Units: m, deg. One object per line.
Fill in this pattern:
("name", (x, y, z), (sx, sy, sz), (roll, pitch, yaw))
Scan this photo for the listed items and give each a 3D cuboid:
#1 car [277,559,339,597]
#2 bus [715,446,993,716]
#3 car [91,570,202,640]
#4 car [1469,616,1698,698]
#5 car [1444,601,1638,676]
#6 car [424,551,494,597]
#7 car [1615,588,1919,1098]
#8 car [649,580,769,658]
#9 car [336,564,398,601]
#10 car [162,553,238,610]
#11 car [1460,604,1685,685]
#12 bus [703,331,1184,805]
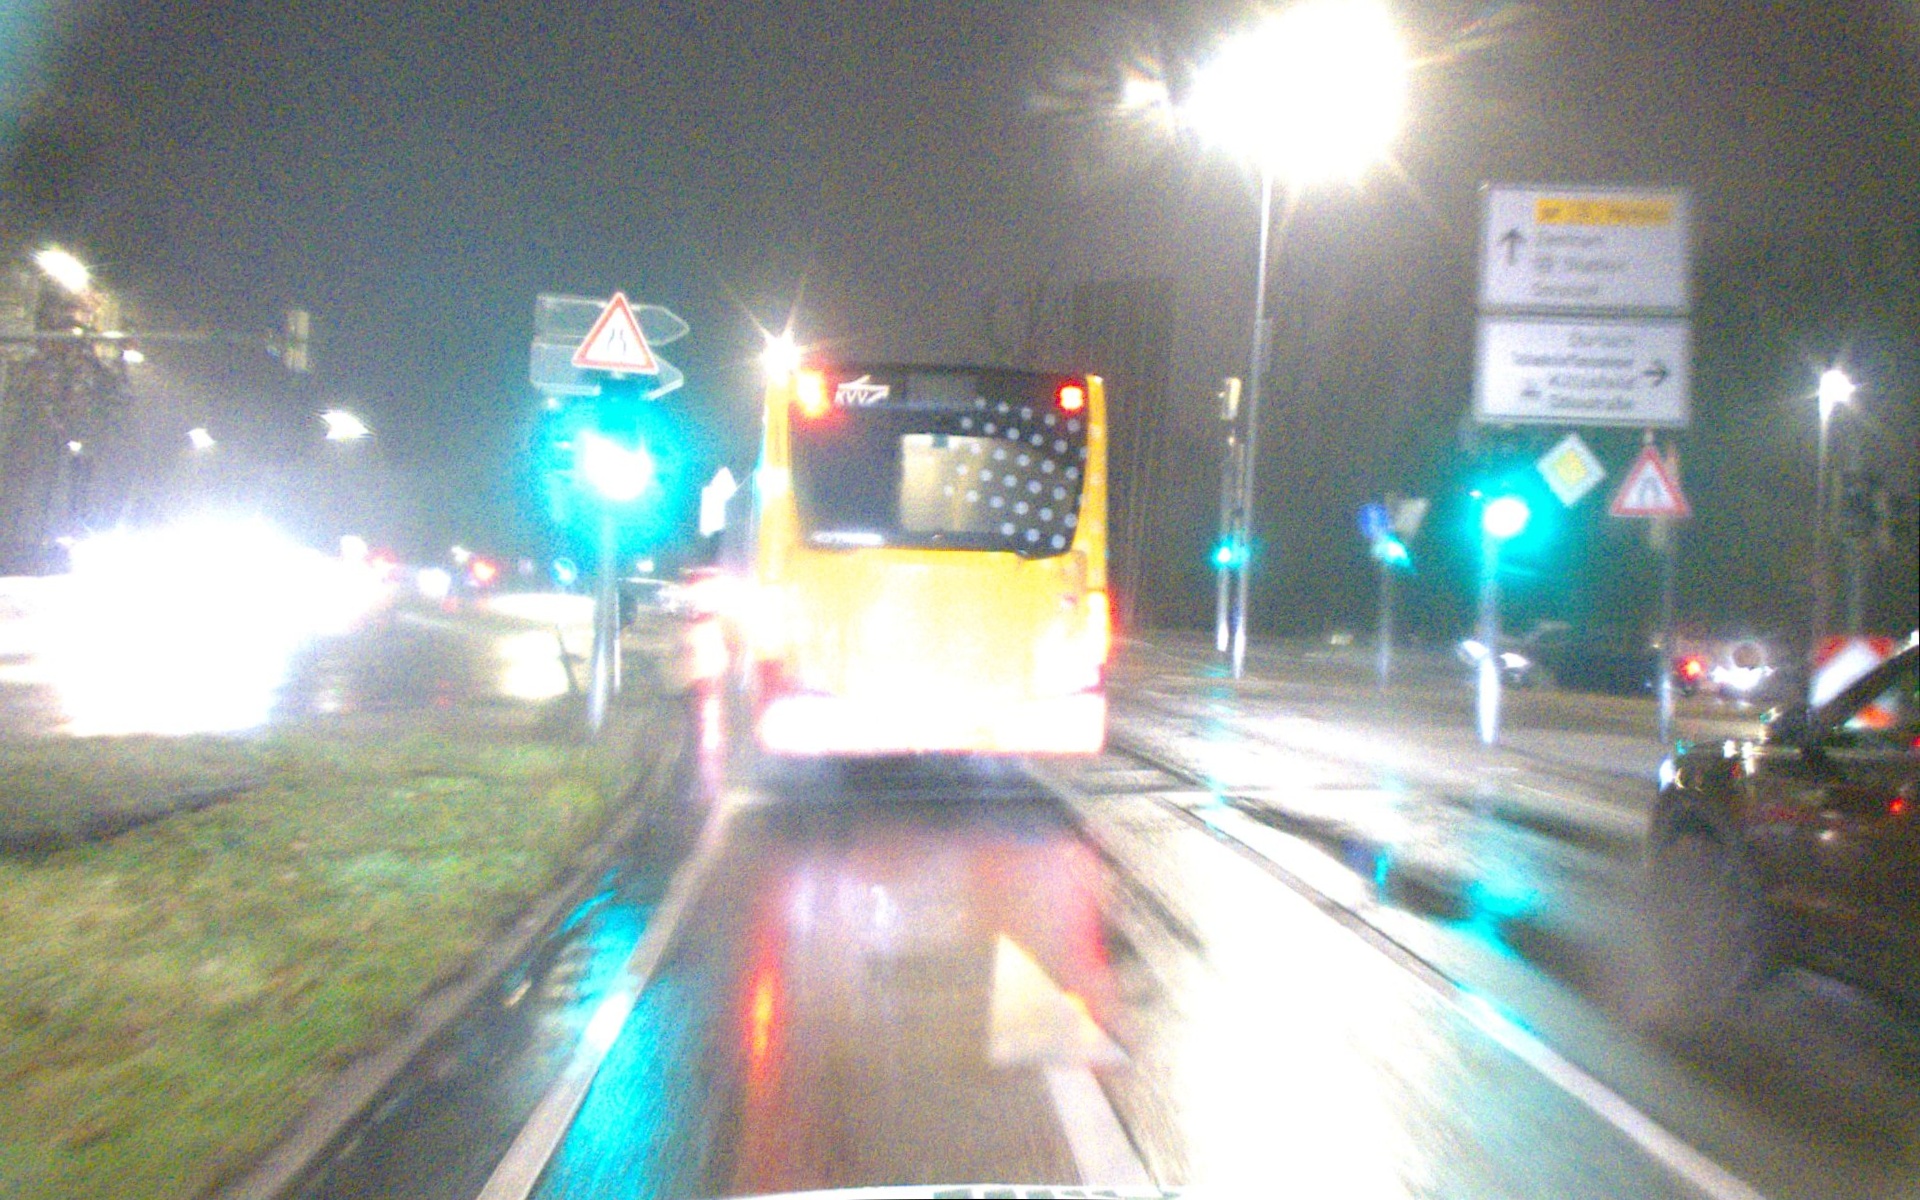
("car", (-34.374, -1.168, 87.132), (2.073, 1.672, 3.682), (7, -2, -36))
("bus", (-1.937, -0.334, 24.929), (3.188, 3.174, 8.627), (4, 1, -9))
("car", (-18.519, 0.119, 37.820), (1.763, 1.482, 4.551), (0, 0, -20))
("car", (12.694, 1.141, 33.811), (3.963, 1.369, 1.746), (3, 1, -4))
("car", (14.335, 0.932, 40.953), (4.082, 1.545, 1.856), (3, 1, -4))
("car", (-19.934, -1.026, 65.693), (1.796, 1.646, 3.962), (3, -1, -29))
("car", (3.759, 0.778, 5.124), (1.644, 1.548, 3.957), (3, -1, -4))
("car", (-7.222, 0.513, 47.241), (1.971, 2.049, 4.308), (3, -1, -28))
("car", (-28.447, -0.835, 79.237), (1.800, 1.646, 3.952), (3, -1, -35))
("car", (-22.403, -0.524, 48.871), (1.755, 1.486, 4.447), (4, -1, -22))
("car", (13.956, 1.001, 37.834), (4.395, 1.545, 1.856), (3, 1, -4))
("bus", (-0.610, -0.193, 15.780), (3.222, 3.104, 9.530), (0, 0, -6))
